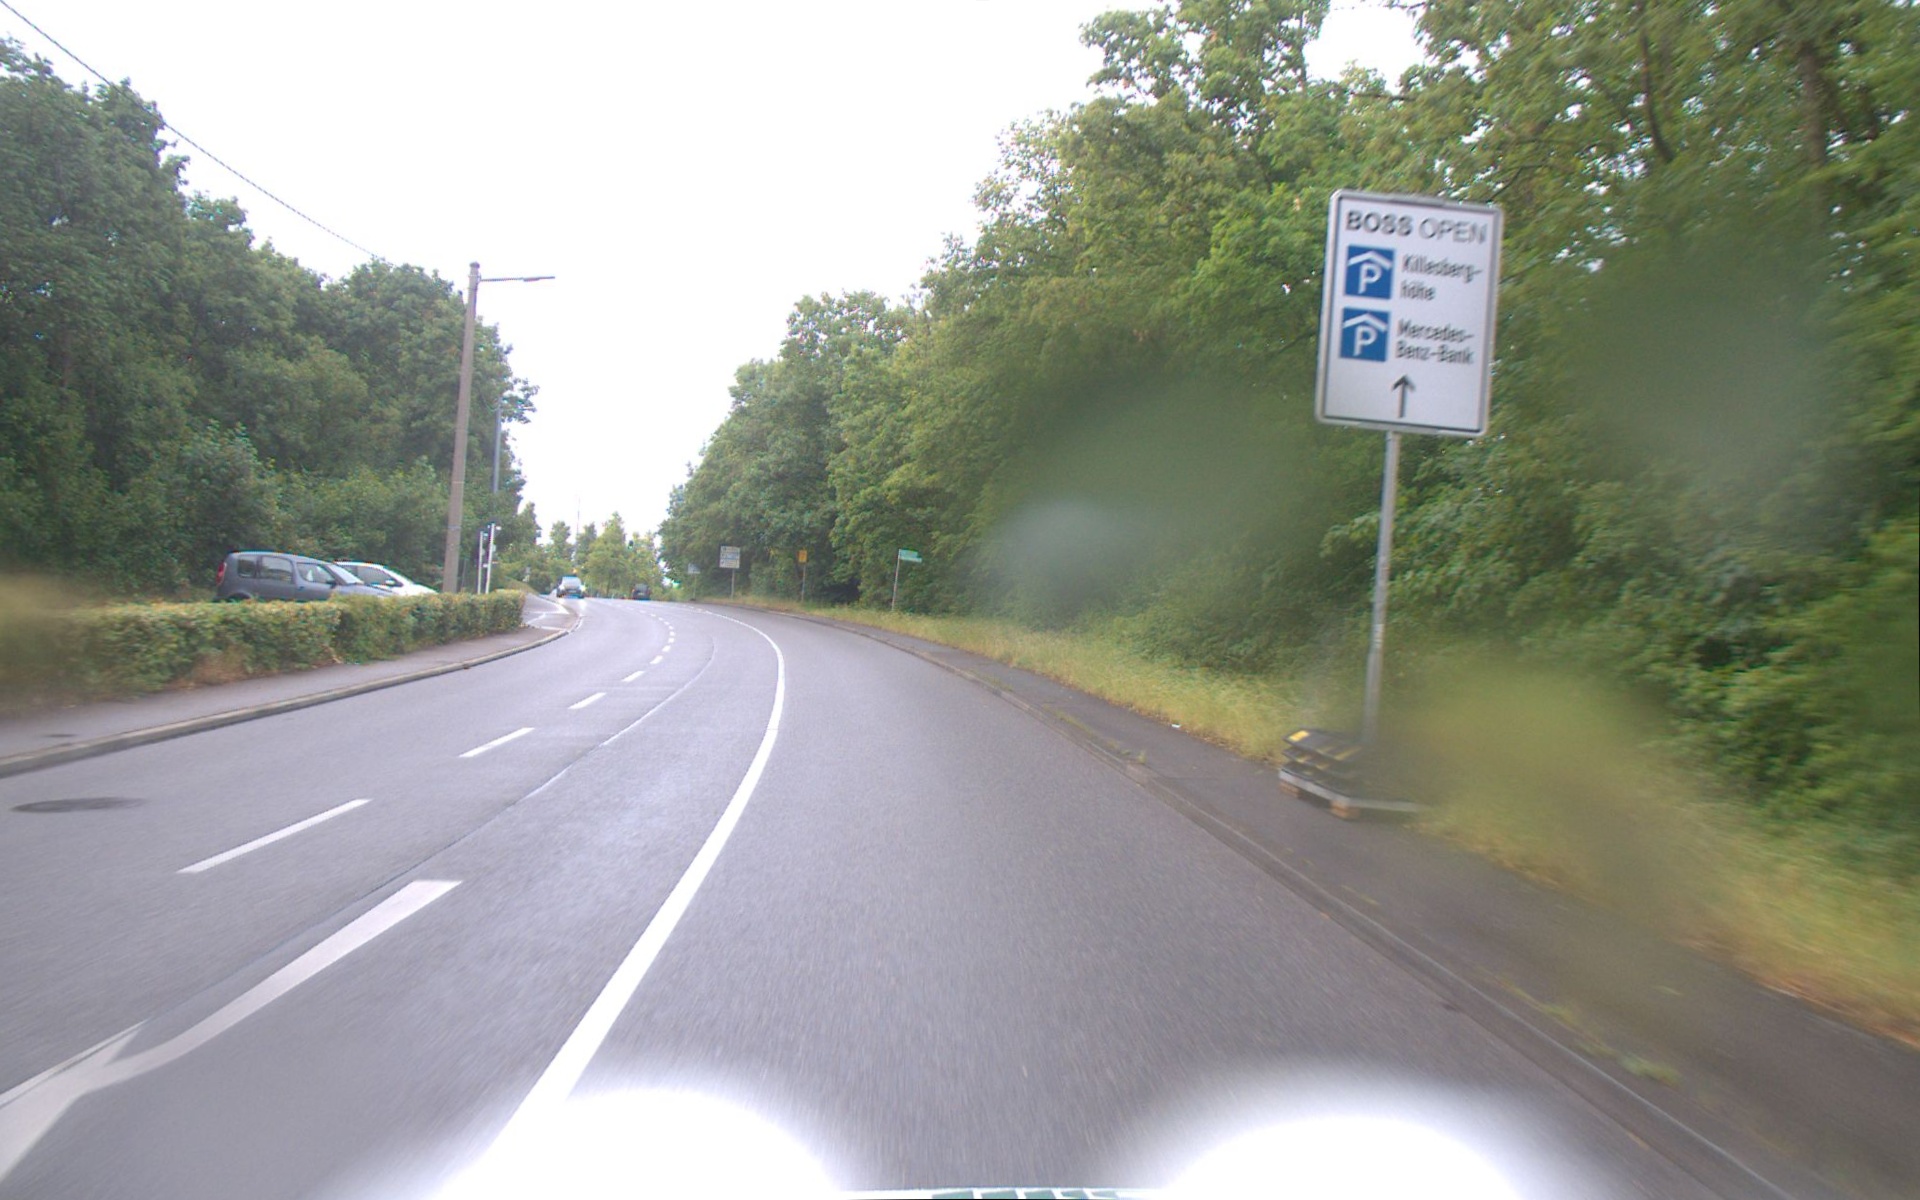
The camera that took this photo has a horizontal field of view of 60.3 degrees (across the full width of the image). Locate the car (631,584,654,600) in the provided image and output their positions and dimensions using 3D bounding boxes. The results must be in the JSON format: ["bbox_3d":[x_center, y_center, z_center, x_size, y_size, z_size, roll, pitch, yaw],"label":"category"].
[{"bbox_3d":[-31.982,-0.803,166.496,1.898,1.524,4.312,2,0,-6],"label":"car"}]

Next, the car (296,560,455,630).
[{"bbox_3d":[-15.162,-0.133,43.053,3.579,1.619,1.847,2,0,-11],"label":"car"}]

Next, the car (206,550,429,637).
[{"bbox_3d":[-14.468,-0.149,37.446,4.206,1.738,1.999,2,0,-4],"label":"car"}]

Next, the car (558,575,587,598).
[{"bbox_3d":[-27.175,-0.927,116.068,1.902,1.524,4.303,2,0,-14],"label":"car"}]
